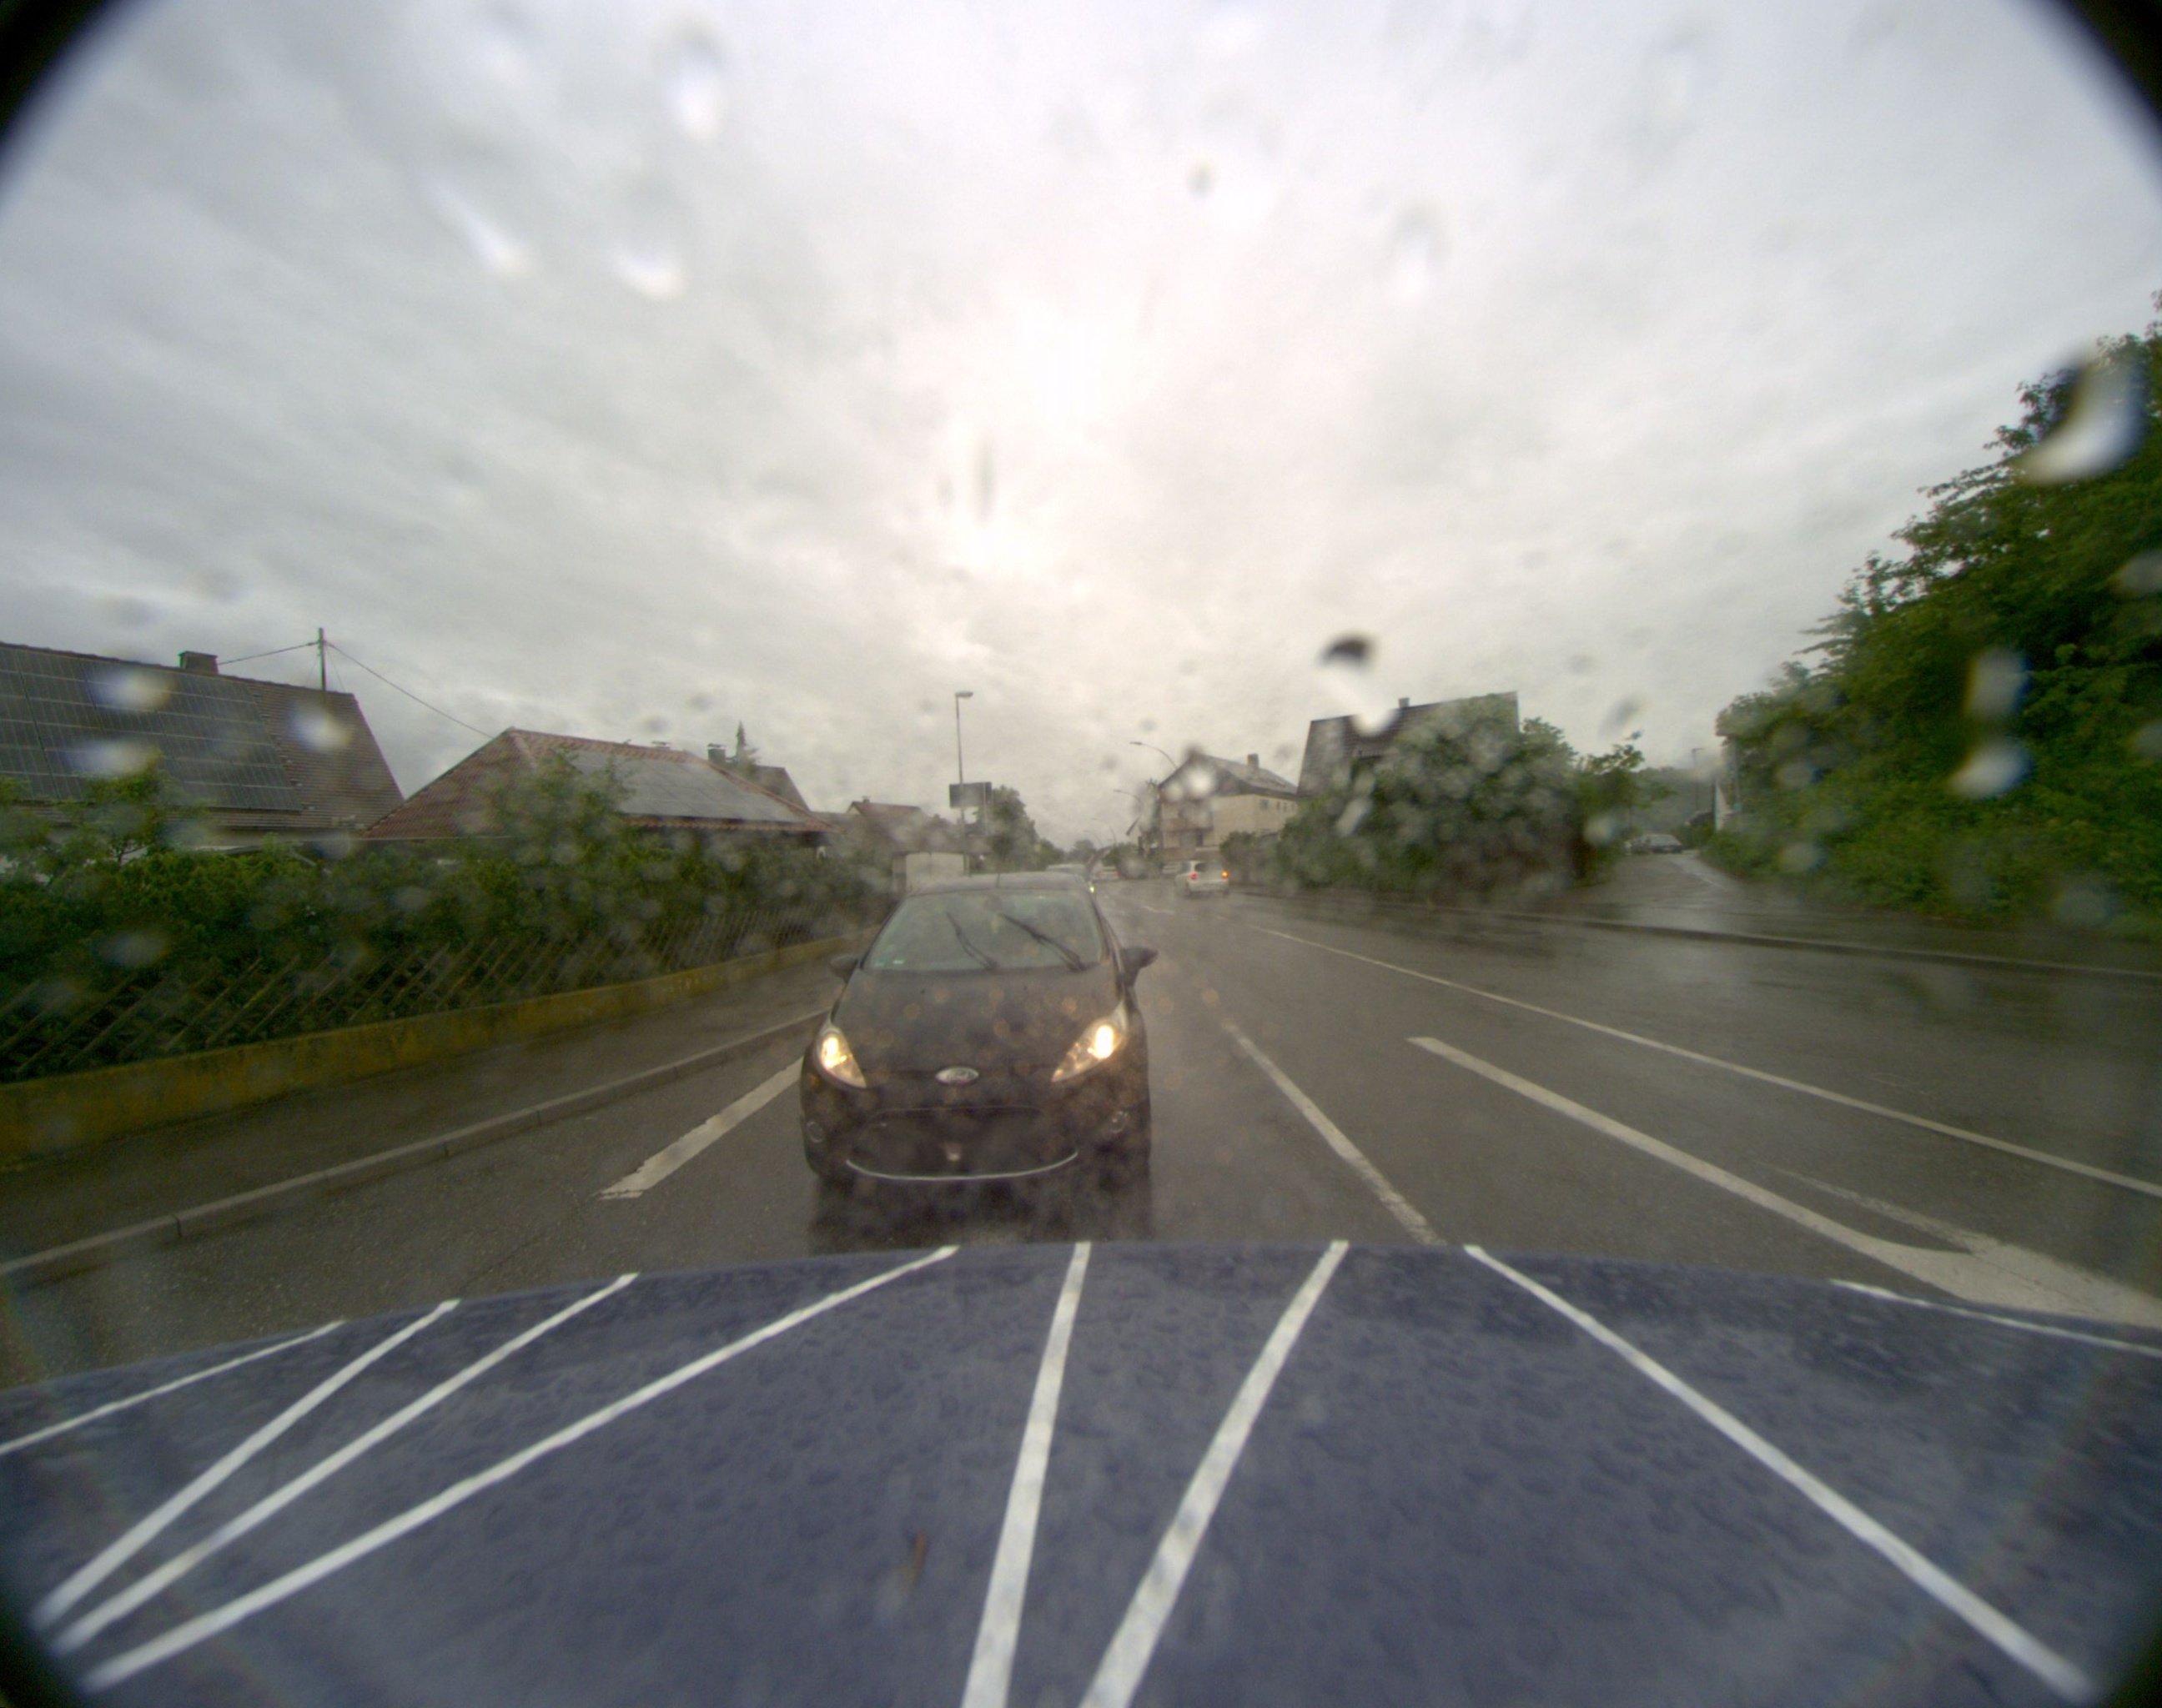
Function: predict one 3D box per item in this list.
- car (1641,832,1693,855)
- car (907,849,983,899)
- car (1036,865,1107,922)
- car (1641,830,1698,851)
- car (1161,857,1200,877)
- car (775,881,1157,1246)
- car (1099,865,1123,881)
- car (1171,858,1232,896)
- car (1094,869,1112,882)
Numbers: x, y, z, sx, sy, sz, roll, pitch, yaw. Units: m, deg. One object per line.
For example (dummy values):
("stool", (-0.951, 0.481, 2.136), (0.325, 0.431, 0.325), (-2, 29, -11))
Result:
("car", (40.685, -0.742, 52.840), (1.895, 1.474, 4.007), (-2, 0, 24))
("car", (-6.859, 0.988, 38.722), (1.650, 2.337, 4.007), (-2, 0, 27))
("car", (-0.348, 1.123, 22.886), (1.899, 1.474, 3.999), (-2, 0, -3))
("car", (45.598, -1.021, 58.964), (1.997, 1.477, 4.004), (-3, 0, 13))
("car", (8.805, 1.101, 66.890), (1.661, 1.538, 4.007), (-2, 1, 34))
("car", (-0.562, 1.016, 5.407), (1.666, 1.410, 3.931), (-2, 1, -1))
("car", (2.919, 1.855, 75.281), (1.669, 1.496, 4.319), (-3, 0, -6))
("car", (5.075, 0.941, 32.503), (1.625, 1.496, 3.820), (-1, 0, -6))
("car", (2.687, 2.616, 94.095), (1.670, 1.430, 4.105), (0, 0, -8))
